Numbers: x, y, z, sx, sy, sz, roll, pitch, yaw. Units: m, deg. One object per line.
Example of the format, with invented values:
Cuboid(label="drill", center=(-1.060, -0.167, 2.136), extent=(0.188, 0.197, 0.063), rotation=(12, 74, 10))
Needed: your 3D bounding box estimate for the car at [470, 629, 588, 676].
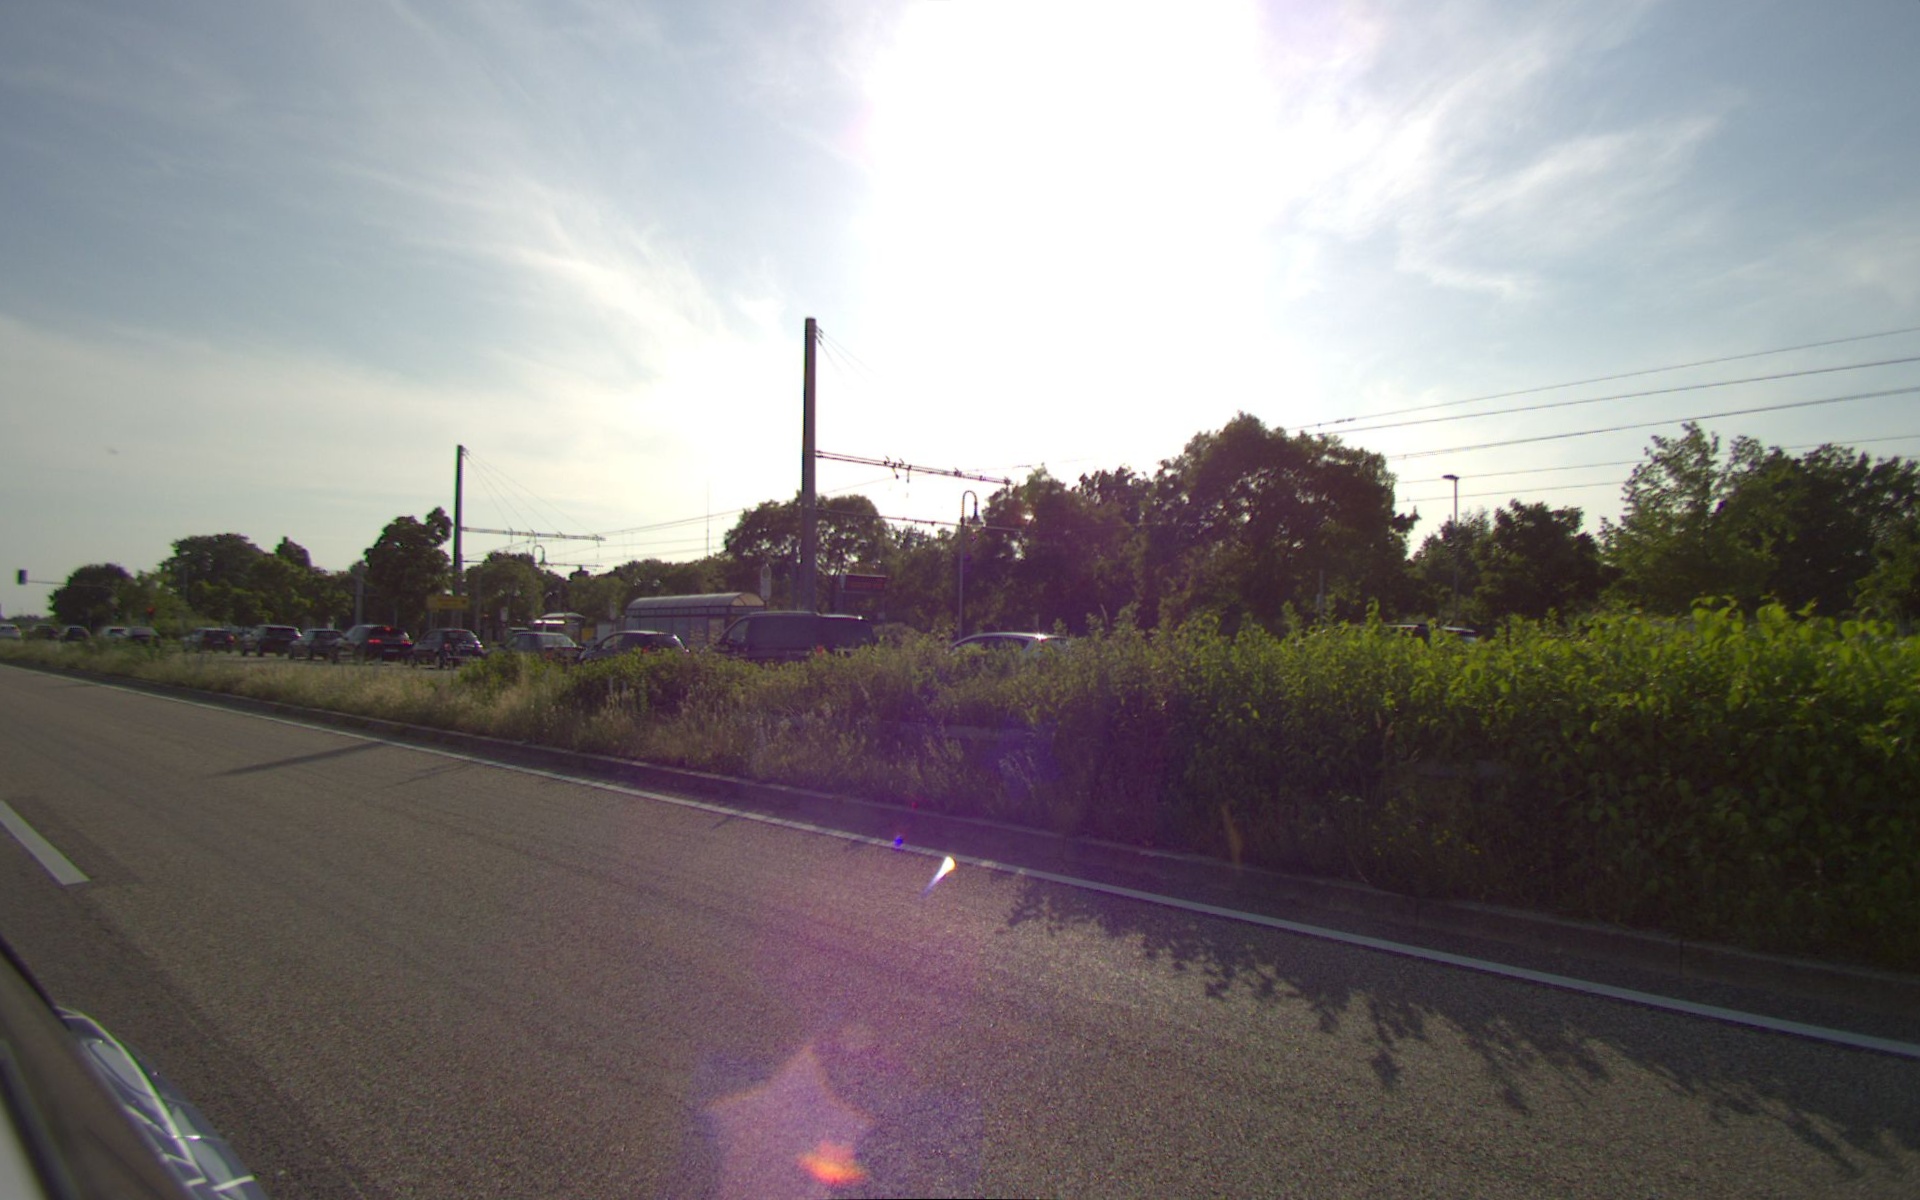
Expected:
Cuboid(label="car", center=(-14.288, 1.721, 33.455), extent=(4.714, 1.442, 1.643), rotation=(-1, -4, 41))

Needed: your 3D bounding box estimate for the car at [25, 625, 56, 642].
Cuboid(label="car", center=(-92.092, 3.319, 101.379), extent=(3.997, 1.602, 1.778), rotation=(-1, -4, 41))

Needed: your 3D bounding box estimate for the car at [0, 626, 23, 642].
Cuboid(label="car", center=(-87.624, 3.112, 92.927), extent=(4.292, 1.481, 1.799), rotation=(-1, -4, 41))

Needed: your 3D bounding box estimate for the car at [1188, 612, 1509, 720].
Cuboid(label="car", center=(5.866, 0.960, 15.605), extent=(4.323, 1.442, 1.643), rotation=(-1, -4, 41))

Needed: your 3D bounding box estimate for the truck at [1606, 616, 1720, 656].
Cuboid(label="truck", center=(42.235, 2.135, 60.853), extent=(5.890, 2.265, 2.004), rotation=(-1, 0, -10))

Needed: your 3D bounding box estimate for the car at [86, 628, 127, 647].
Cuboid(label="car", center=(-65.830, 2.862, 78.016), extent=(4.465, 1.391, 1.643), rotation=(-1, -4, 41))

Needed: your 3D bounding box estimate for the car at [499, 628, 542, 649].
Cuboid(label="car", center=(-42.351, 3.732, 97.594), extent=(1.822, 1.892, 3.648), rotation=(-1, 0, 22))

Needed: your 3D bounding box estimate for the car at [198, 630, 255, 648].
Cuboid(label="car", center=(-83.631, 4.441, 115.482), extent=(2.249, 1.901, 4.787), rotation=(-1, 0, 35))

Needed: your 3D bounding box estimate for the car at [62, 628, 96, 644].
Cuboid(label="car", center=(-77.390, 3.154, 88.873), extent=(3.997, 1.391, 1.643), rotation=(-1, -4, 41))

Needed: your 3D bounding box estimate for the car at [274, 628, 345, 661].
Cuboid(label="car", center=(-29.801, 2.028, 46.334), extent=(3.802, 1.442, 1.643), rotation=(-1, -4, 41))

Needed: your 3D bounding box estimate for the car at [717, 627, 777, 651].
Cuboid(label="car", center=(-16.012, 2.910, 76.190), extent=(3.938, 1.674, 2.003), rotation=(-1, -1, -41))

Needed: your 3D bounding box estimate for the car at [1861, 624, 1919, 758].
Cuboid(label="car", center=(12.198, 0.993, 10.396), extent=(4.323, 1.442, 1.643), rotation=(-1, -4, 41))

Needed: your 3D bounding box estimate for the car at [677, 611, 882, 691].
Cuboid(label="car", center=(-4.386, 1.188, 24.053), extent=(5.250, 1.696, 1.895), rotation=(-1, -4, 41))

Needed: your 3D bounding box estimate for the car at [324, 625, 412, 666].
Cuboid(label="car", center=(-24.203, 1.838, 41.310), extent=(4.543, 1.574, 1.643), rotation=(-1, -4, 41))

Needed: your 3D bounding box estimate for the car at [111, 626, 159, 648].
Cuboid(label="car", center=(-56.487, 2.523, 69.224), extent=(4.972, 1.426, 1.643), rotation=(-1, -4, 41))

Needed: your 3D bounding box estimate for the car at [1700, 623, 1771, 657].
Cuboid(label="car", center=(44.832, 2.304, 58.548), extent=(3.064, 1.809, 1.573), rotation=(-1, 0, -10))

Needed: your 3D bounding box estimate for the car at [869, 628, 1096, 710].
Cuboid(label="car", center=(0.351, 1.293, 19.951), extent=(4.445, 1.442, 1.643), rotation=(-1, -4, 41))

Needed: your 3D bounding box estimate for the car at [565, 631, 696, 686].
Cuboid(label="car", center=(-9.435, 1.628, 28.841), extent=(4.054, 1.442, 1.643), rotation=(-1, -4, 41))

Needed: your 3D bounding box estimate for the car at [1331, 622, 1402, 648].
Cuboid(label="car", center=(24.454, 2.110, 60.897), extent=(3.562, 1.377, 1.739), rotation=(2, -4, -12))

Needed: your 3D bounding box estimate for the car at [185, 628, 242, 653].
Cuboid(label="car", center=(-43.181, 2.336, 58.477), extent=(4.538, 1.391, 1.643), rotation=(-1, -4, 41))

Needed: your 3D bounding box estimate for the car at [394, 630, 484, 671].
Cuboid(label="car", center=(-19.485, 1.884, 37.784), extent=(3.802, 1.442, 1.643), rotation=(-1, -4, 41))

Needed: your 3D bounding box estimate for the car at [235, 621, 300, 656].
Cuboid(label="car", center=(-35.326, 1.935, 51.614), extent=(4.226, 1.700, 1.643), rotation=(-1, -4, 41))
